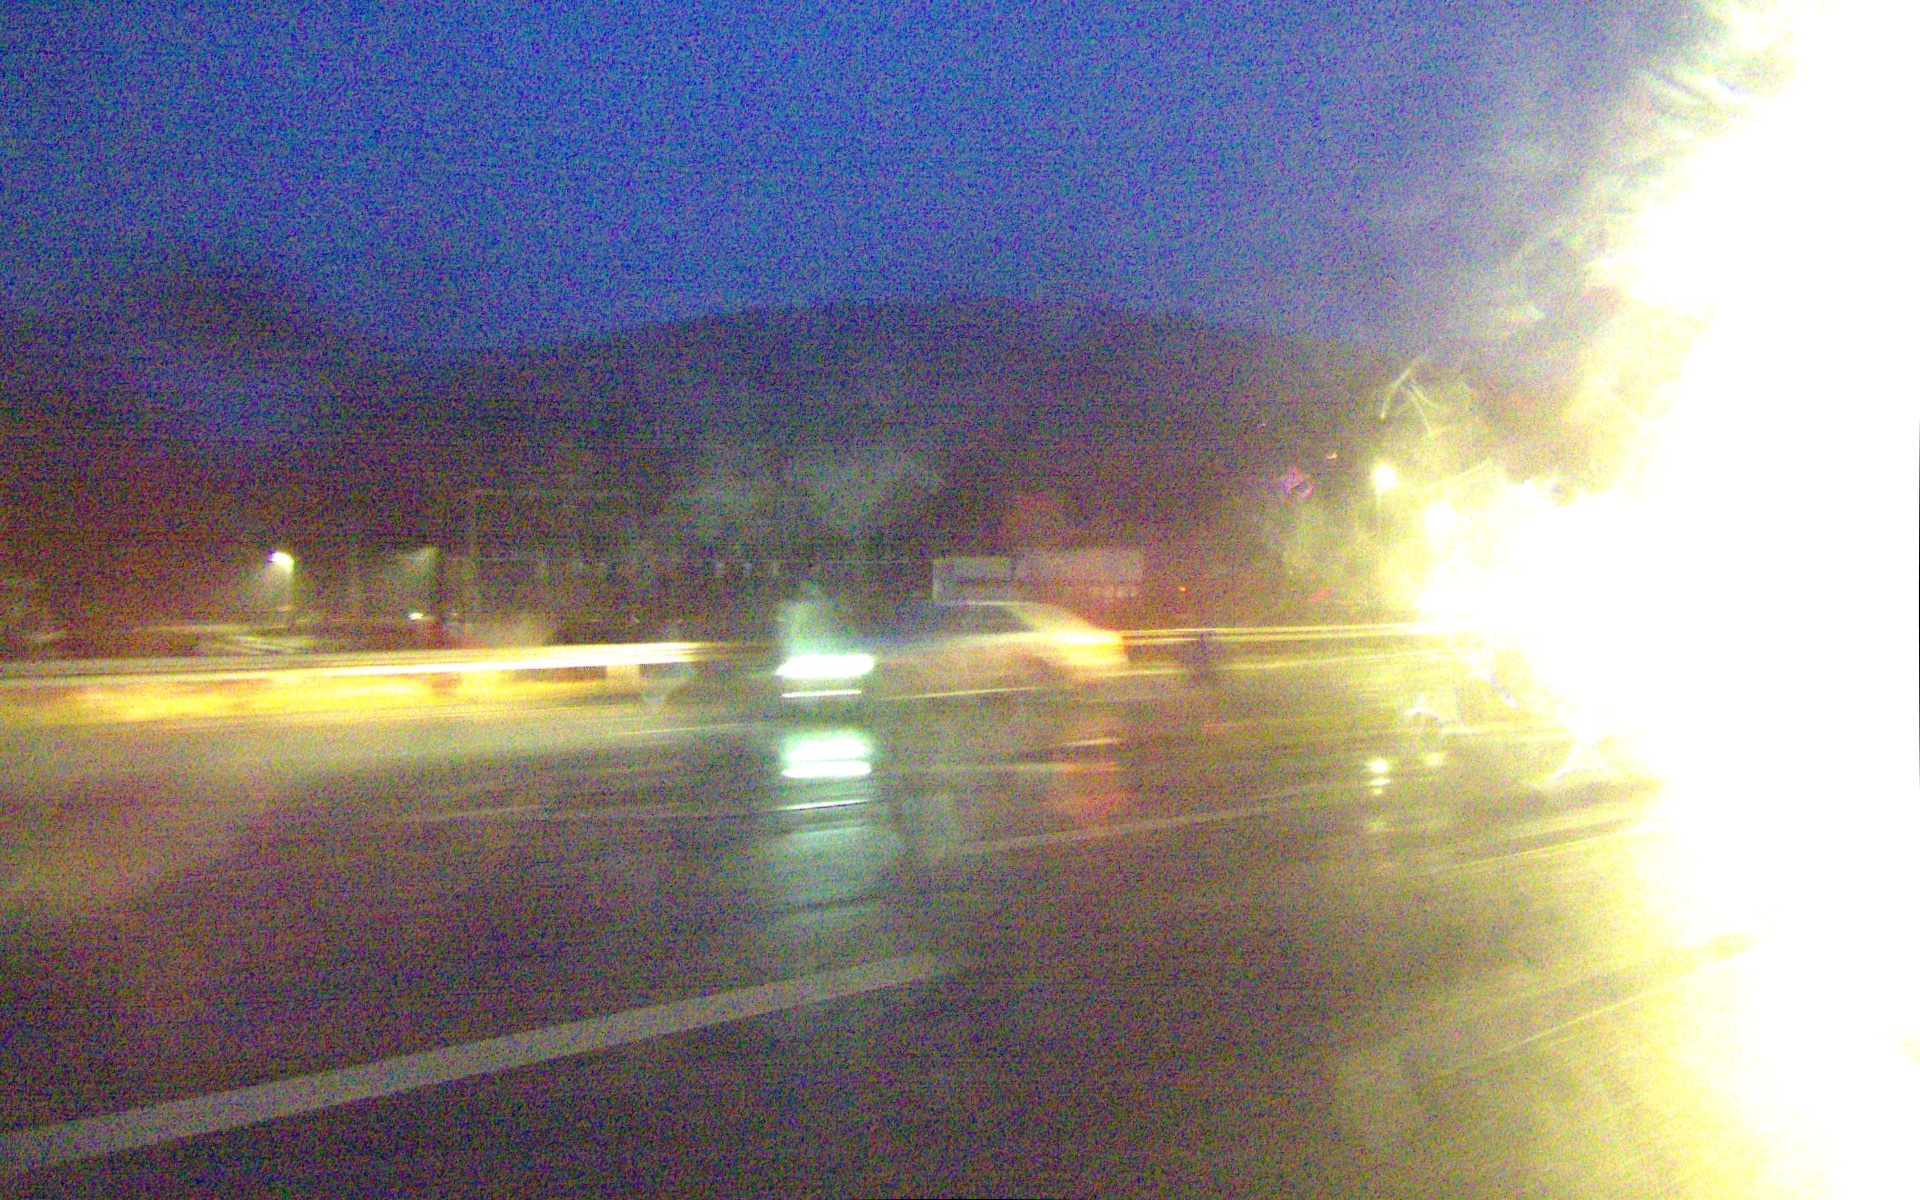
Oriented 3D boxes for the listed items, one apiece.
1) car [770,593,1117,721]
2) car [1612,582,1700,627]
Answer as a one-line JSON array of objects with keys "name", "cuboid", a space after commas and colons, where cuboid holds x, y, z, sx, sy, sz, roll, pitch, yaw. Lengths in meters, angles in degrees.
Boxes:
[{"name": "car", "cuboid": [-0.160, 0.680, 14.000, 4.507, 1.528, 1.982, 0, 0, -33]}, {"name": "car", "cuboid": [33.107, 0.228, 47.917, 1.959, 2.040, 4.002, 1, 0, 11]}]
